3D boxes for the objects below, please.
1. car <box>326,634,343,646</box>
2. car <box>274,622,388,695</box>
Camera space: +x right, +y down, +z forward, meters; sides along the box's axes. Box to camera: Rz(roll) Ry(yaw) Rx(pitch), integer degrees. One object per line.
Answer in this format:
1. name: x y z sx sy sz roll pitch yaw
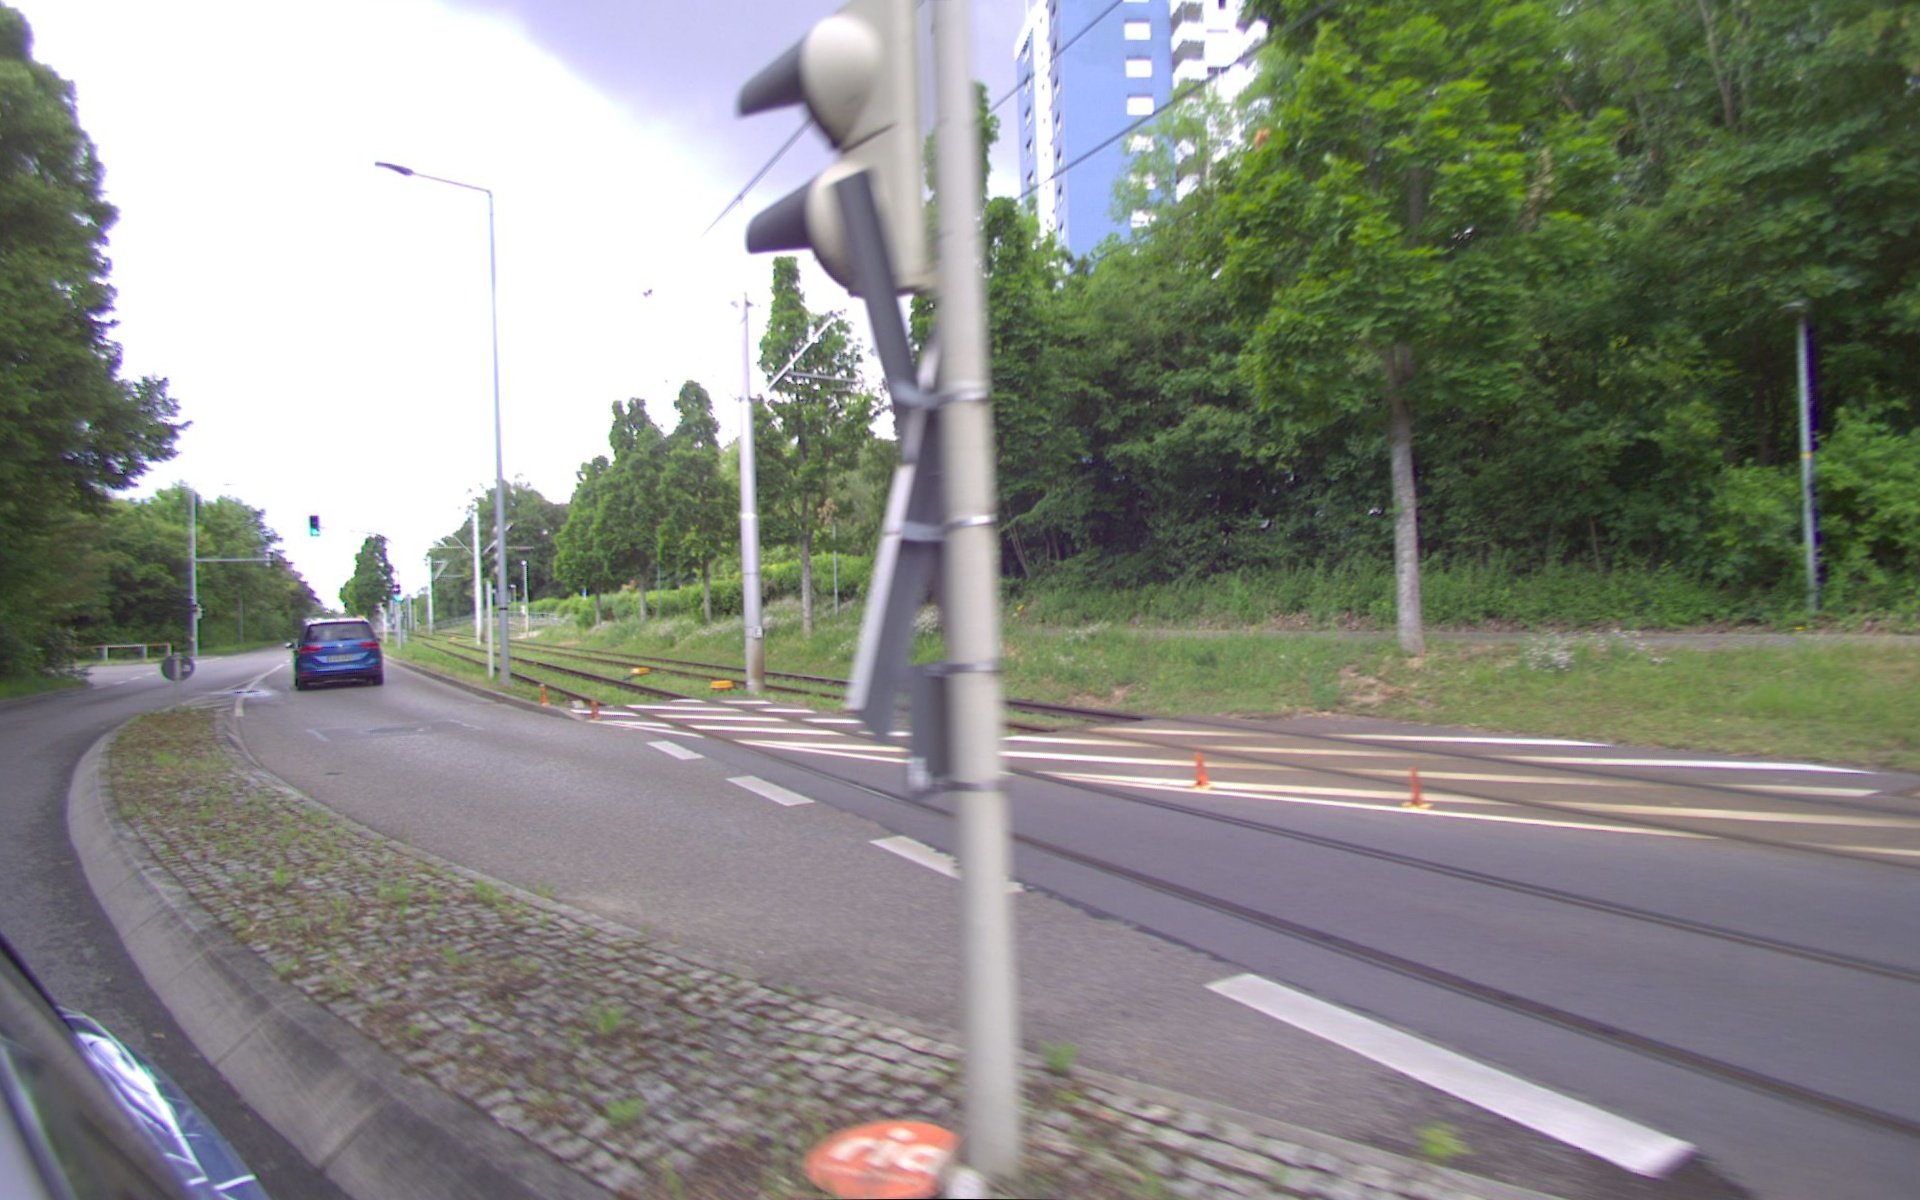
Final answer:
1. car: -81.272 5.183 131.547 1.825 1.481 4.268 -3 -1 -32
2. car: -15.421 1.405 24.712 1.843 1.532 4.247 -3 -1 -38
